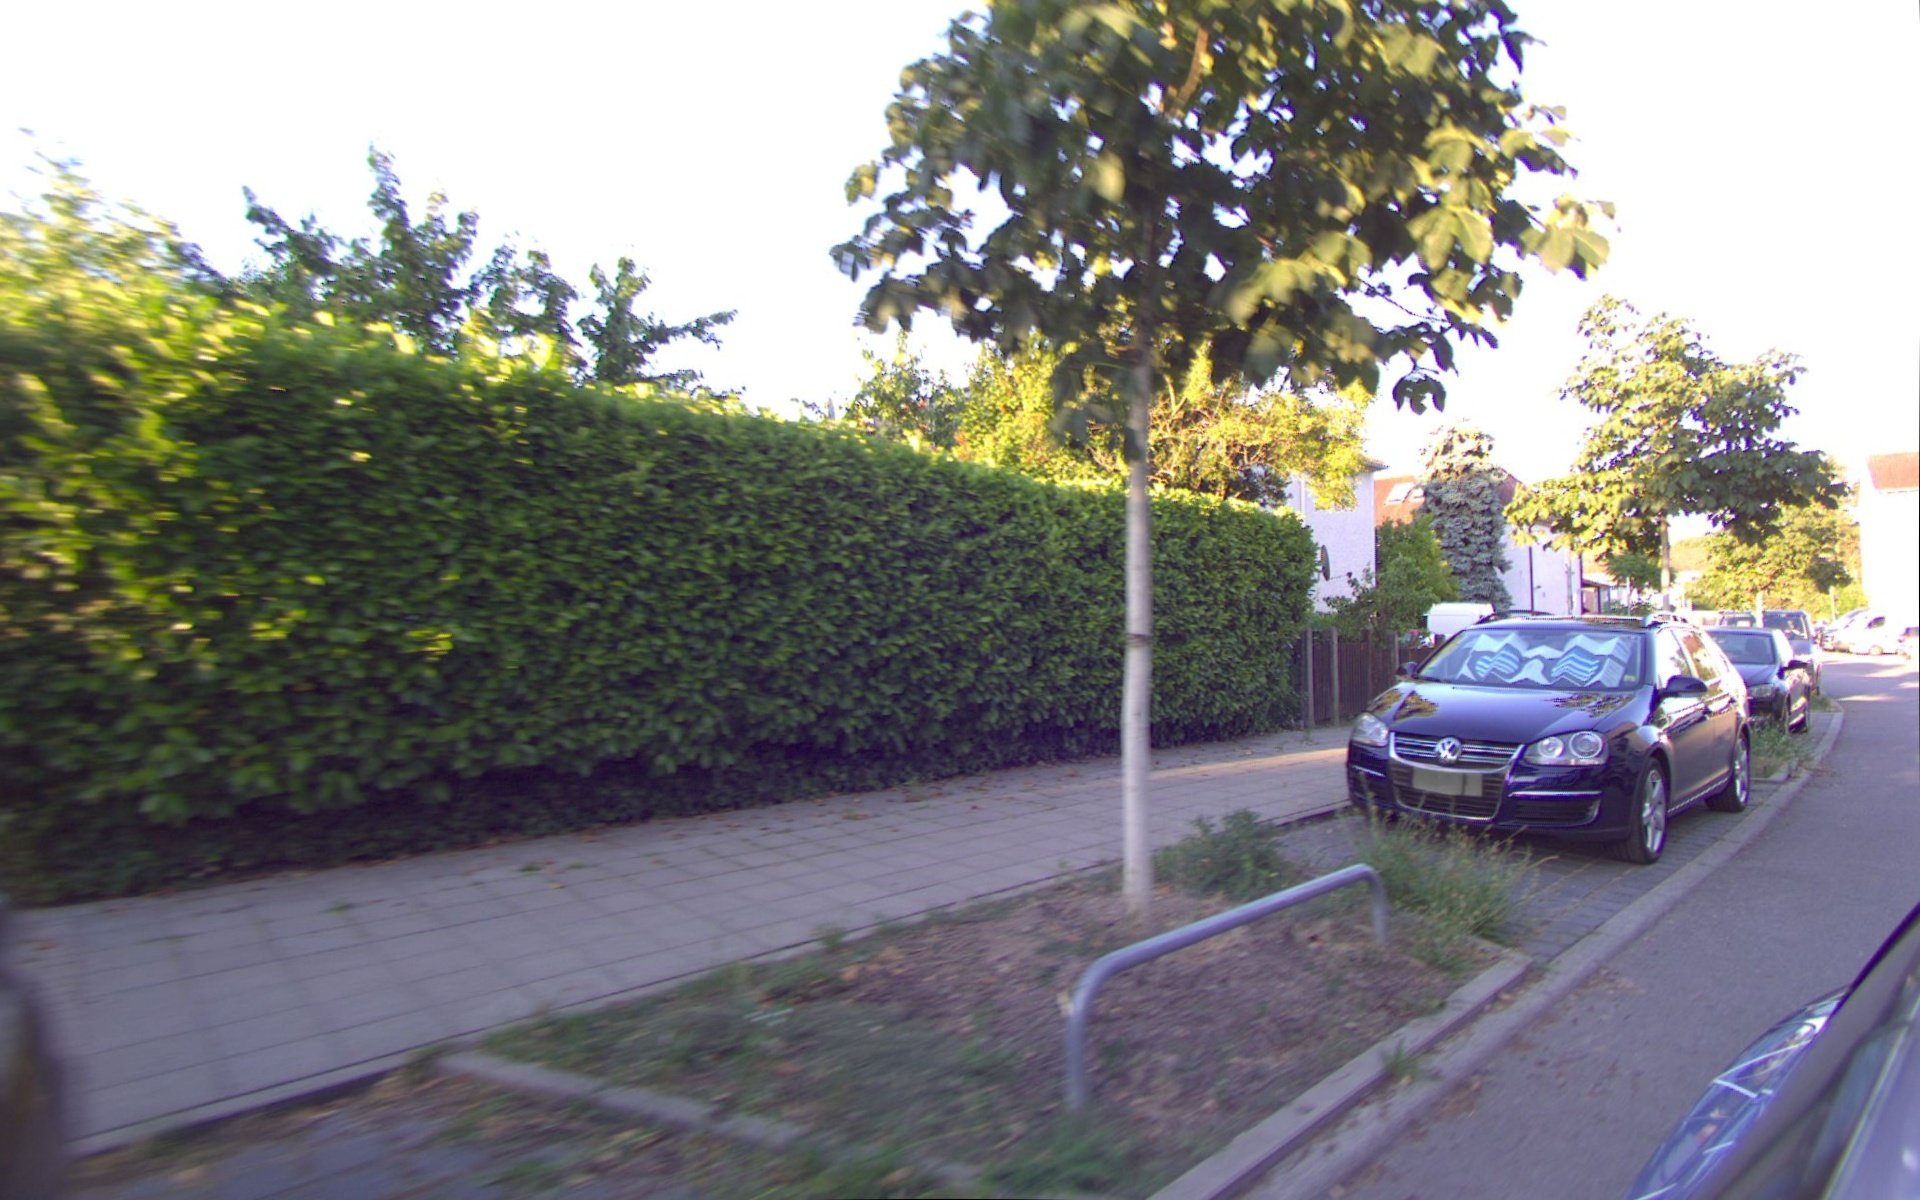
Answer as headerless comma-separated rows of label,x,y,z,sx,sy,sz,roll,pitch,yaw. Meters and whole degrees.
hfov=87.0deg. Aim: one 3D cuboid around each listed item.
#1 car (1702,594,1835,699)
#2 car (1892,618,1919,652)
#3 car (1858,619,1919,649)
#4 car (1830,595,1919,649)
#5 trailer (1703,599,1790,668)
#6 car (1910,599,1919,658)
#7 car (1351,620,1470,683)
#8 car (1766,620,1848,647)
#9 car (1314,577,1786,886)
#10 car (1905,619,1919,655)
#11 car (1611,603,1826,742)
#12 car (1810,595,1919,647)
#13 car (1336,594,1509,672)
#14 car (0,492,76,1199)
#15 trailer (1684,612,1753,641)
car,18.340,1.001,22.864,2.063,2.122,4.797,-2,-2,42
car,46.956,1.618,47.904,3.915,1.611,1.724,-3,-3,38
car,49.882,1.753,53.008,3.904,1.527,1.771,-3,-2,30
car,51.479,1.179,55.009,5.787,2.749,2.030,-4,-4,28
trailer,27.808,1.180,35.936,2.057,2.240,5.157,-1,-2,34
car,43.913,1.079,42.115,5.865,2.567,2.382,-4,-3,35
car,11.276,1.250,25.241,3.579,1.463,1.529,2,-3,-45
car,57.713,2.314,69.036,3.906,1.674,1.728,-4,-4,32
car,4.467,0.728,7.321,4.470,1.570,1.712,2,-2,-43
car,45.980,1.600,45.920,4.104,1.611,1.729,-4,-3,31
car,10.058,0.871,13.337,3.579,1.572,1.741,2,-3,-45
car,53.779,1.206,58.684,6.333,2.748,2.097,-4,-2,23
car,17.323,1.292,38.129,5.562,2.728,2.020,-3,-5,44
car,-2.811,0.653,0.551,3.434,1.529,1.580,0,-1,-40
trailer,70.726,2.487,94.434,4.767,2.464,2.111,-3,-2,31
